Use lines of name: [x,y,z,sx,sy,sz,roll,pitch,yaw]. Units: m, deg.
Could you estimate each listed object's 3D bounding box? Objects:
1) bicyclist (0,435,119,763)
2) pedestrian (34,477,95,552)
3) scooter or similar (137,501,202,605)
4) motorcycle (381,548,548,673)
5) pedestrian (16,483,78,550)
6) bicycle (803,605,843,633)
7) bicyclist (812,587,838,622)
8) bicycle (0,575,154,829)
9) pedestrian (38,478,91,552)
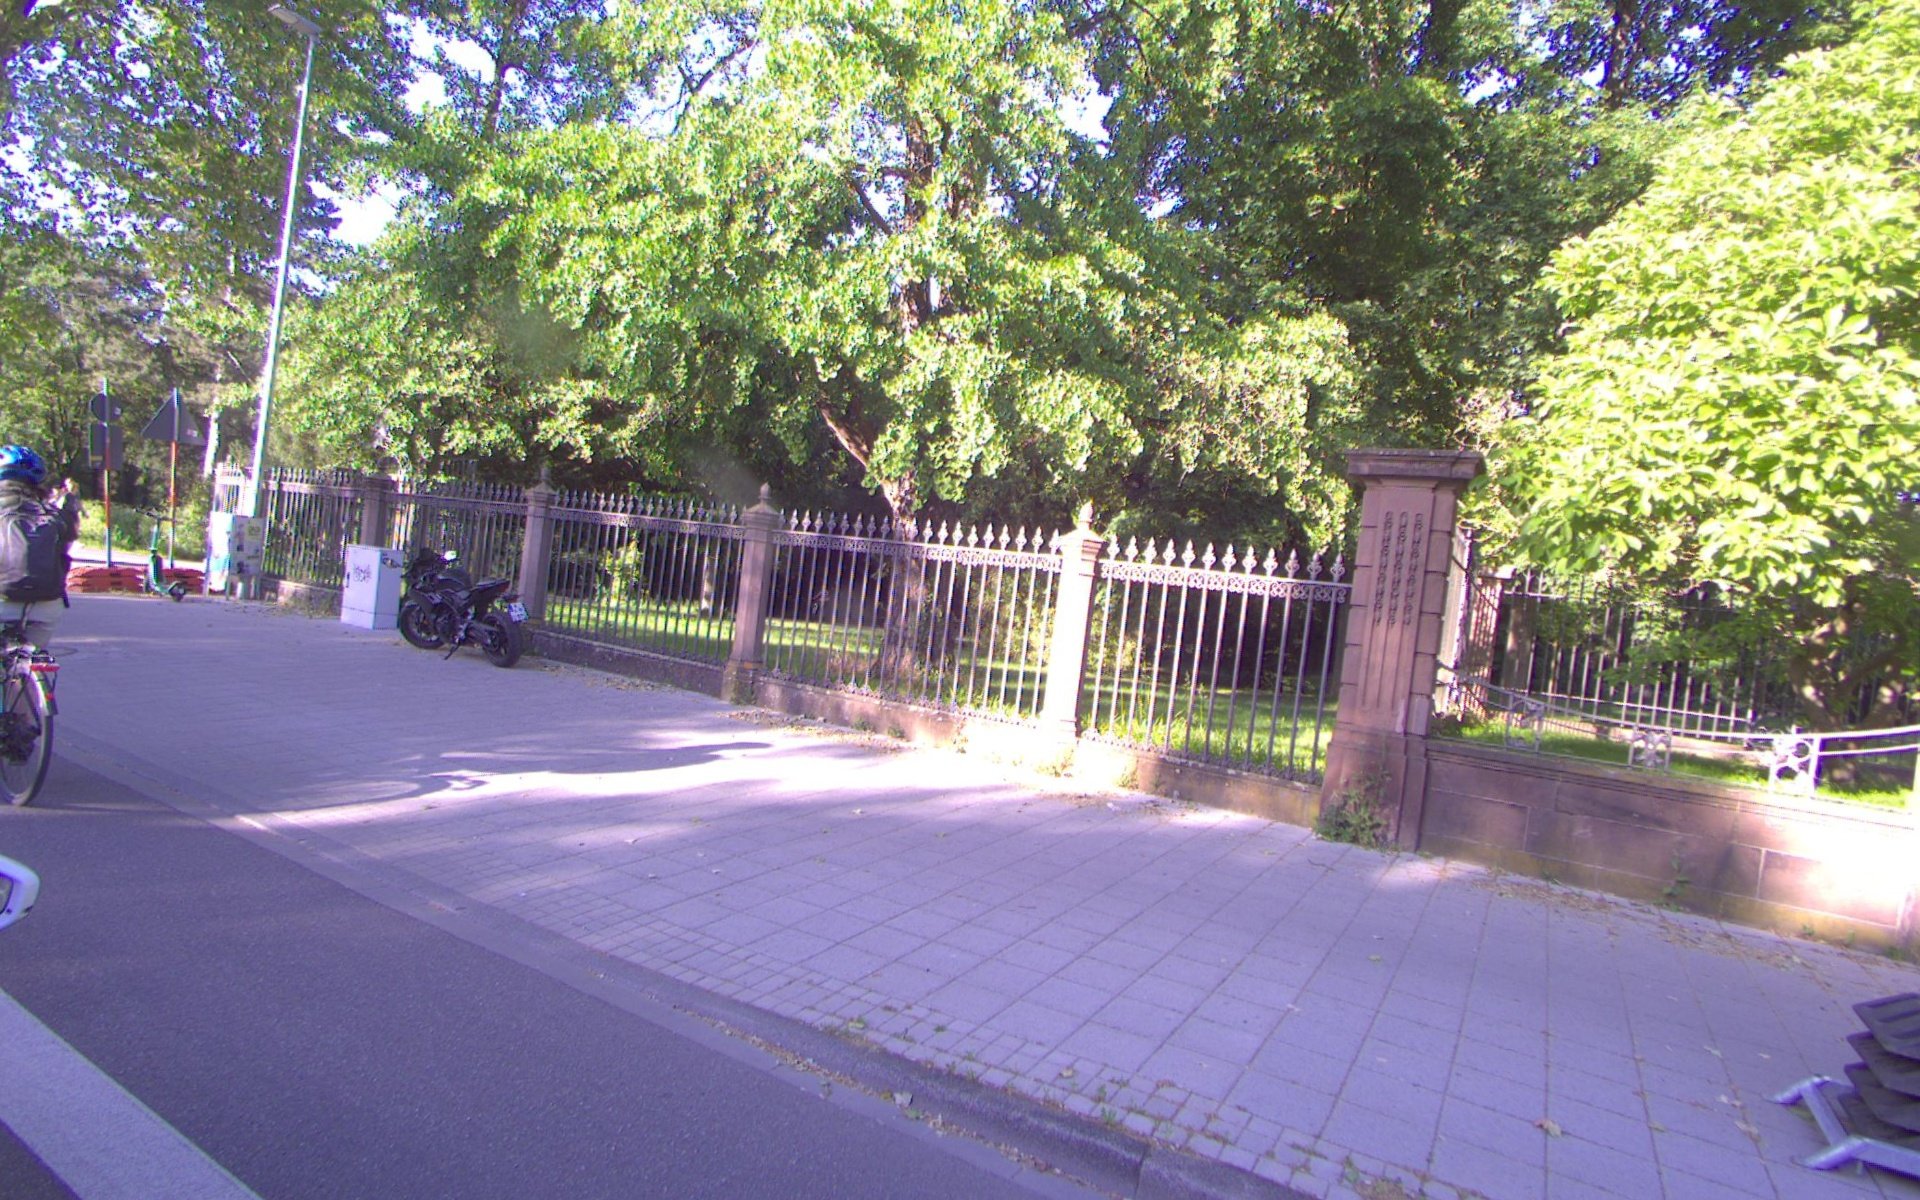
bicyclist: [-5.024,-0.025,5.212,0.709,1.621,0.666,7,-1,30]
pedestrian: [-23.453,-2.233,26.354,0.817,1.794,0.819,7,1,25]
scooter or similar: [-11.136,-0.673,14.156,1.152,1.344,0.228,7,2,30]
motorcycle: [-5.527,0.094,11.171,2.134,1.146,0.506,7,2,30]
pedestrian: [-23.241,-2.122,25.612,0.901,1.536,0.820,7,-1,30]
bicycle: [-6.069,0.851,44.649,1.606,1.027,0.471,8,-1,-32]
bicyclist: [-5.983,0.204,44.673,0.776,1.448,0.661,7,-1,-31]
bicycle: [-5.109,0.438,5.221,2.046,1.021,0.670,7,-1,30]
pedestrian: [-22.502,-2.129,25.289,0.632,1.721,0.690,7,2,25]
